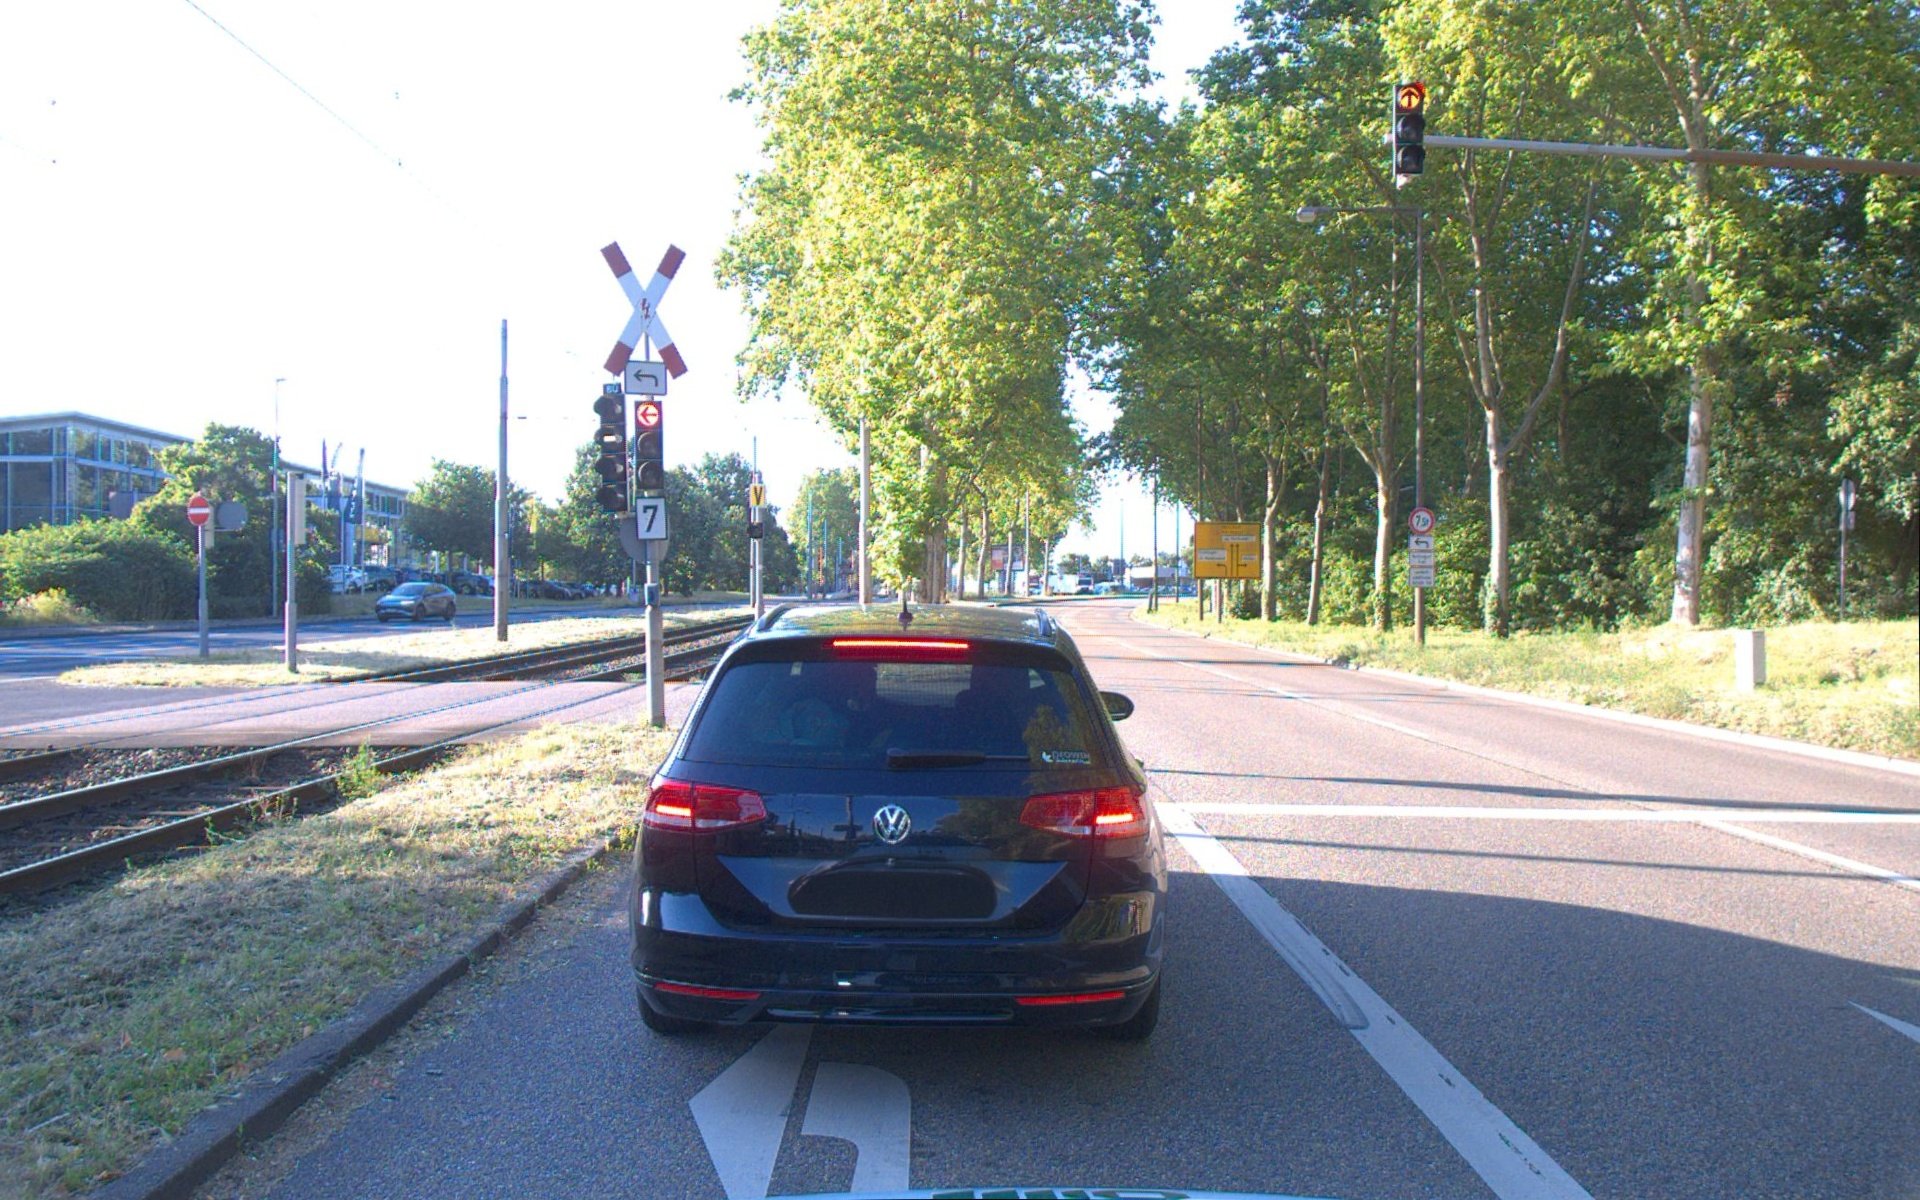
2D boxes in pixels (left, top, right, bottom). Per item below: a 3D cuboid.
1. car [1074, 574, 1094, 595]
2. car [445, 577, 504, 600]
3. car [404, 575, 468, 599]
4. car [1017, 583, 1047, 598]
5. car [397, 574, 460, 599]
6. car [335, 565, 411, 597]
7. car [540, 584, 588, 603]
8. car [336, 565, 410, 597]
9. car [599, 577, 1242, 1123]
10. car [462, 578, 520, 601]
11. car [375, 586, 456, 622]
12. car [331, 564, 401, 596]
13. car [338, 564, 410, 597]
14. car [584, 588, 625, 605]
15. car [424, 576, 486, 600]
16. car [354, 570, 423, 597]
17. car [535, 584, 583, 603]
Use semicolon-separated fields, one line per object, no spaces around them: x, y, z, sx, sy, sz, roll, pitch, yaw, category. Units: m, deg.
15.208;-1.929;203.712;2.052;2.504;5.853;1;1;0;car
-35.576;-0.827;121.242;3.909;1.649;1.742;1;0;-6;car
-36.044;-0.882;113.787;3.913;1.583;1.740;1;0;-9;car
7.400;-0.986;170.529;1.824;1.507;4.091;1;1;22;car
-35.712;-0.902;111.093;3.930;1.583;1.732;1;0;-22;car
-32.914;-1.058;92.702;3.930;1.734;1.732;1;0;-22;car
-35.524;-0.558;148.519;3.909;1.649;1.742;1;0;-6;car
-33.697;-1.068;94.941;3.930;1.734;1.732;1;0;-22;car
-0.140;0.692;6.380;1.758;1.490;3.582;1;0;-1;car
-35.246;-0.786;124.458;3.909;1.649;1.742;1;0;-6;car
-23.983;0.152;73.011;1.822;1.507;4.175;1;1;6;car
-35.553;-1.164;99.004;3.930;1.848;1.732;1;0;-22;car
-34.446;-1.132;97.267;3.930;1.848;1.732;1;0;-22;car
-35.971;-0.363;167.422;3.909;1.583;1.742;1;0;-5;car
-35.784;-0.843;117.311;3.911;1.583;1.741;1;0;-7;car
-35.206;-0.993;101.919;3.930;1.583;1.732;1;0;-22;car
-35.226;-0.583;145.361;3.909;1.649;1.742;1;0;-6;car
